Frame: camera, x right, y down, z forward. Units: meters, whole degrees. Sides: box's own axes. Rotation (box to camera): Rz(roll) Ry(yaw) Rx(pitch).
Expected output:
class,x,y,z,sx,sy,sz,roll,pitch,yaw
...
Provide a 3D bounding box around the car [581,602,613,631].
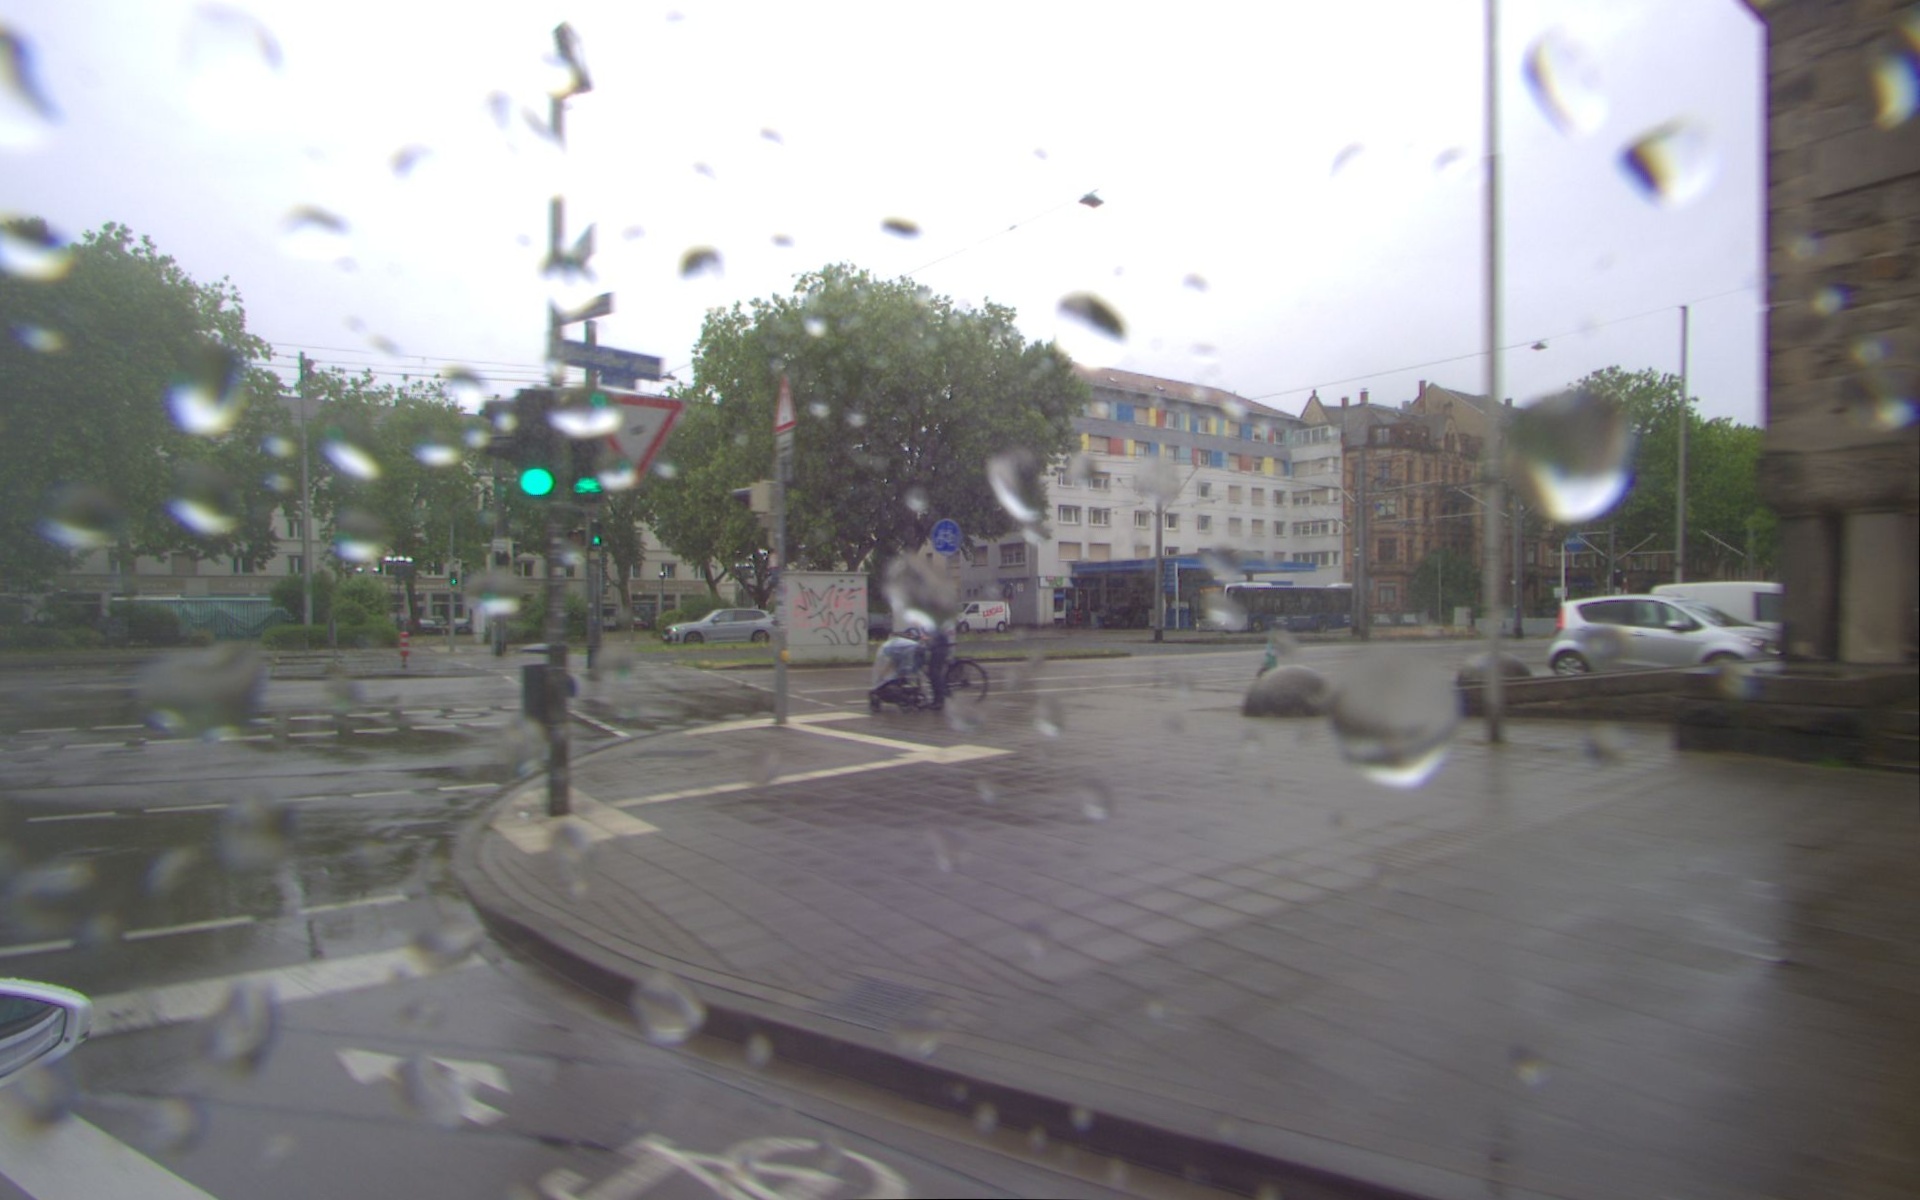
class,x,y,z,sx,sy,sz,roll,pitch,yaw
car,-30.114,1.383,83.047,1.533,2.231,4.075,-1,-2,-33

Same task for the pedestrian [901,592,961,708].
class,x,y,z,sx,sy,sz,roll,pitch,yaw
pedestrian,-0.425,0.722,14.882,0.679,1.685,0.601,0,1,35

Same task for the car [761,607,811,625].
class,x,y,z,sx,sy,sz,roll,pitch,yaw
car,-15.193,1.384,87.488,3.946,1.471,1.667,-1,0,-34

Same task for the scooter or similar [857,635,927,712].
class,x,y,z,sx,sy,sz,roll,pitch,yaw
scooter or similar,-0.998,1.063,14.683,0.911,1.062,0.512,0,1,34

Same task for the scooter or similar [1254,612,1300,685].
class,x,y,z,sx,sy,sz,roll,pitch,yaw
scooter or similar,6.311,0.946,19.908,1.090,1.405,0.284,0,1,-36

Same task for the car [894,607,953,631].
class,x,y,z,sx,sy,sz,roll,pitch,yaw
car,-2.602,1.352,71.883,3.948,1.611,1.661,0,0,-35

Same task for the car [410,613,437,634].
class,x,y,z,sx,sy,sz,roll,pitch,yaw
car,-41.029,1.824,76.544,1.533,1.485,3.347,-1,-2,-33

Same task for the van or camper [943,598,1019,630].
class,x,y,z,sx,sy,sz,roll,pitch,yaw
van or camper,1.334,0.872,62.894,4.616,1.940,1.984,0,0,-39

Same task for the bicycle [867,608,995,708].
class,x,y,z,sx,sy,sz,roll,pitch,yaw
bicycle,-0.455,0.867,15.396,1.907,1.486,0.532,0,1,22

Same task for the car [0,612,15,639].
class,x,y,z,sx,sy,sz,roll,pitch,yaw
car,-59.984,1.602,62.033,1.665,1.595,3.708,0,-1,-38

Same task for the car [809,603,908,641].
class,x,y,z,sx,sy,sz,roll,pitch,yaw
car,-4.525,0.937,44.931,4.126,1.621,1.766,0,0,-36

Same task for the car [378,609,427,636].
class,x,y,z,sx,sy,sz,roll,pitch,yaw
car,-32.554,1.309,58.463,1.651,1.541,3.644,-1,0,-43

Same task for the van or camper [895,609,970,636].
class,x,y,z,sx,sy,sz,roll,pitch,yaw
van or camper,-1.734,1.419,64.408,4.616,1.620,1.984,0,0,-39

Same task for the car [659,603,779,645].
class,x,y,z,sx,sy,sz,roll,pitch,yaw
car,-9.840,0.946,41.056,4.498,1.621,1.779,0,0,-36

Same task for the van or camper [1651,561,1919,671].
class,x,y,z,sx,sy,sz,roll,pitch,yaw
van or camper,15.279,0.372,18.372,1.627,1.749,3.907,-1,-4,-35

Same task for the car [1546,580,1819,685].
class,x,y,z,sx,sy,sz,roll,pitch,yaw
car,12.219,0.613,17.124,1.713,1.593,3.342,0,-4,-32

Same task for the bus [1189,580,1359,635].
class,x,y,z,sx,sy,sz,roll,pitch,yaw
bus,19.542,0.445,61.860,11.932,3.155,2.877,0,0,-31

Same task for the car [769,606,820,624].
class,x,y,z,sx,sy,sz,roll,pitch,yaw
car,-14.112,1.293,85.280,3.946,1.471,1.667,-1,0,-34
